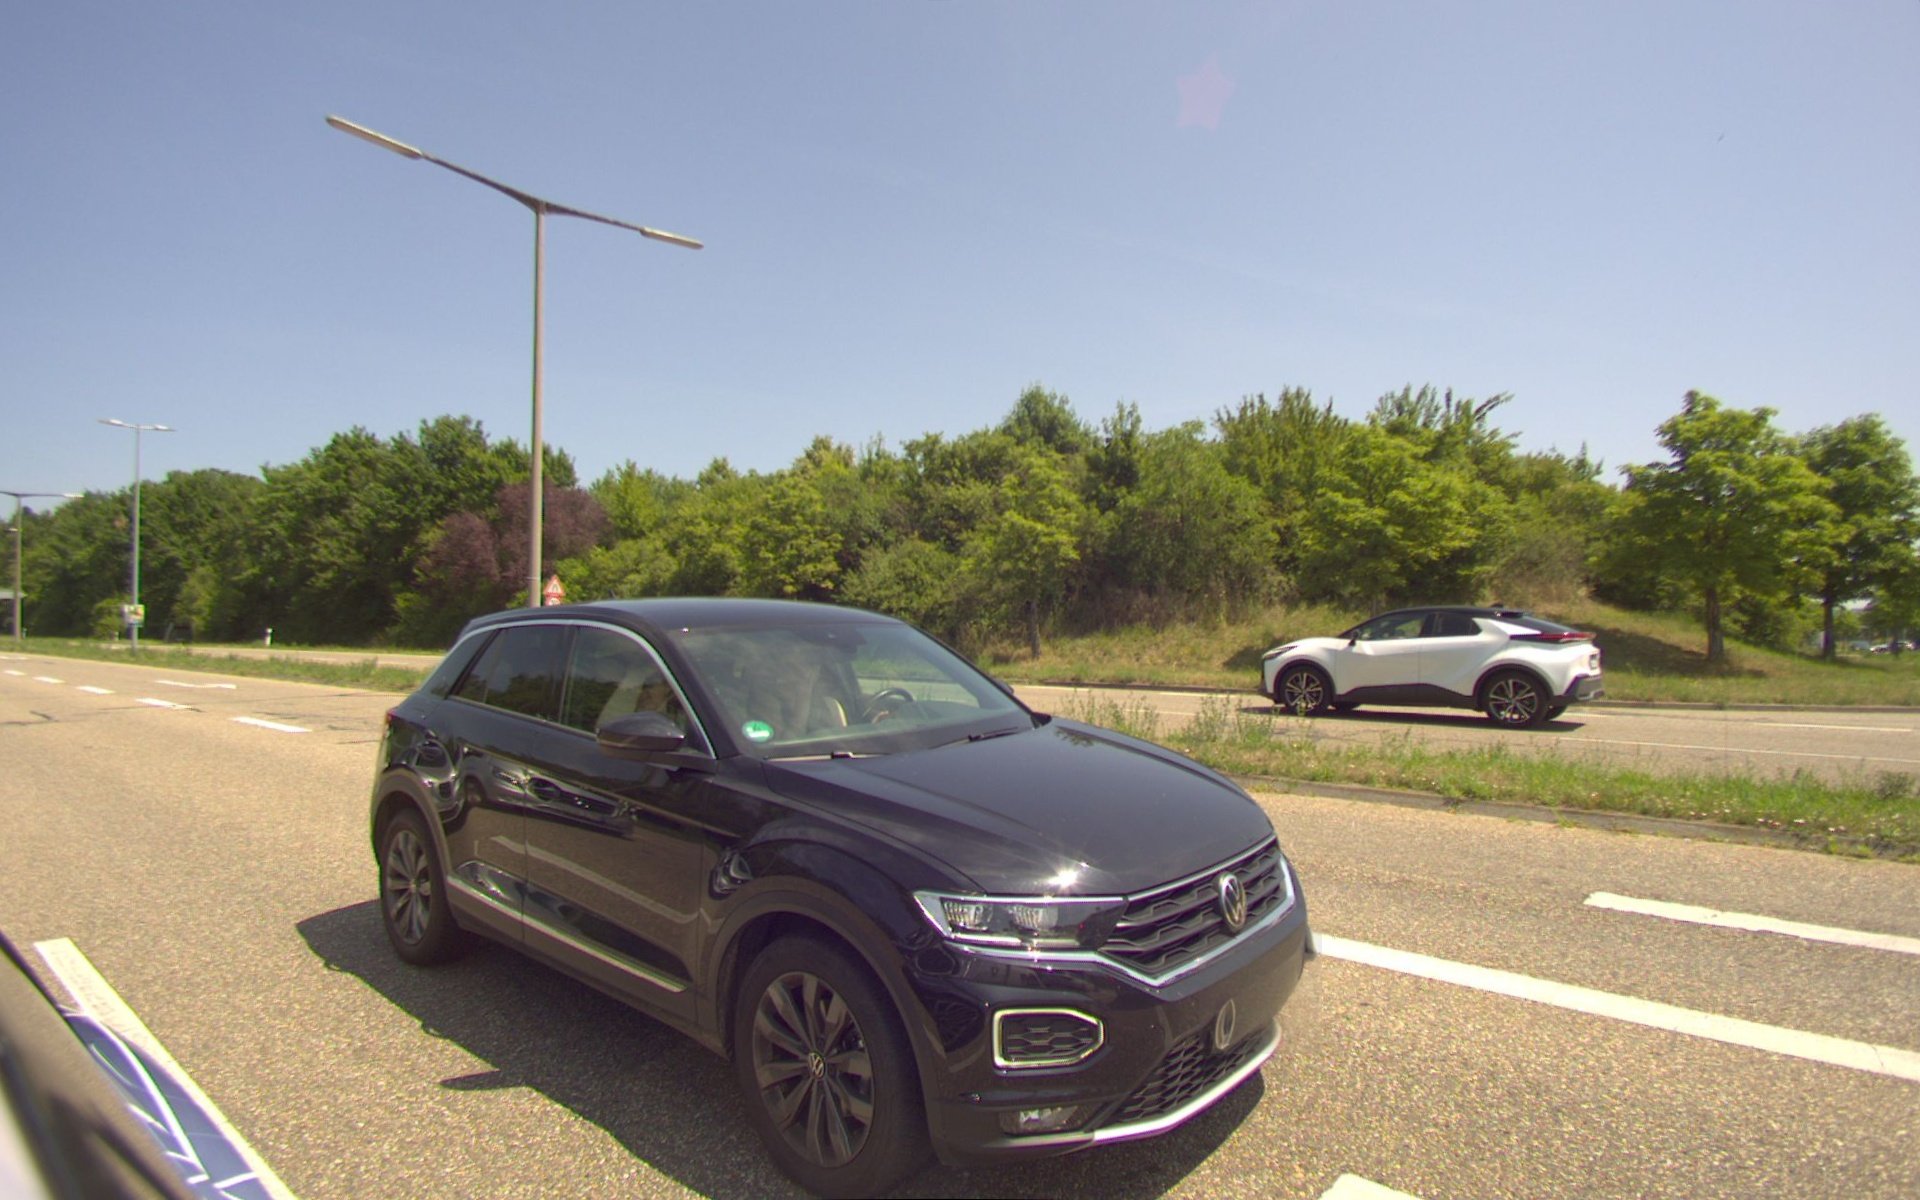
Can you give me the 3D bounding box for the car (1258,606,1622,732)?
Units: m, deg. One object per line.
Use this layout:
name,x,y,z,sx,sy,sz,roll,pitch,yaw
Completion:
car,6.445,0.862,13.850,4.166,1.467,1.804,-1,-2,41

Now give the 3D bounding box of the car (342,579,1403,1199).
car,-0.672,0.726,3.813,3.968,1.523,1.716,0,0,41
